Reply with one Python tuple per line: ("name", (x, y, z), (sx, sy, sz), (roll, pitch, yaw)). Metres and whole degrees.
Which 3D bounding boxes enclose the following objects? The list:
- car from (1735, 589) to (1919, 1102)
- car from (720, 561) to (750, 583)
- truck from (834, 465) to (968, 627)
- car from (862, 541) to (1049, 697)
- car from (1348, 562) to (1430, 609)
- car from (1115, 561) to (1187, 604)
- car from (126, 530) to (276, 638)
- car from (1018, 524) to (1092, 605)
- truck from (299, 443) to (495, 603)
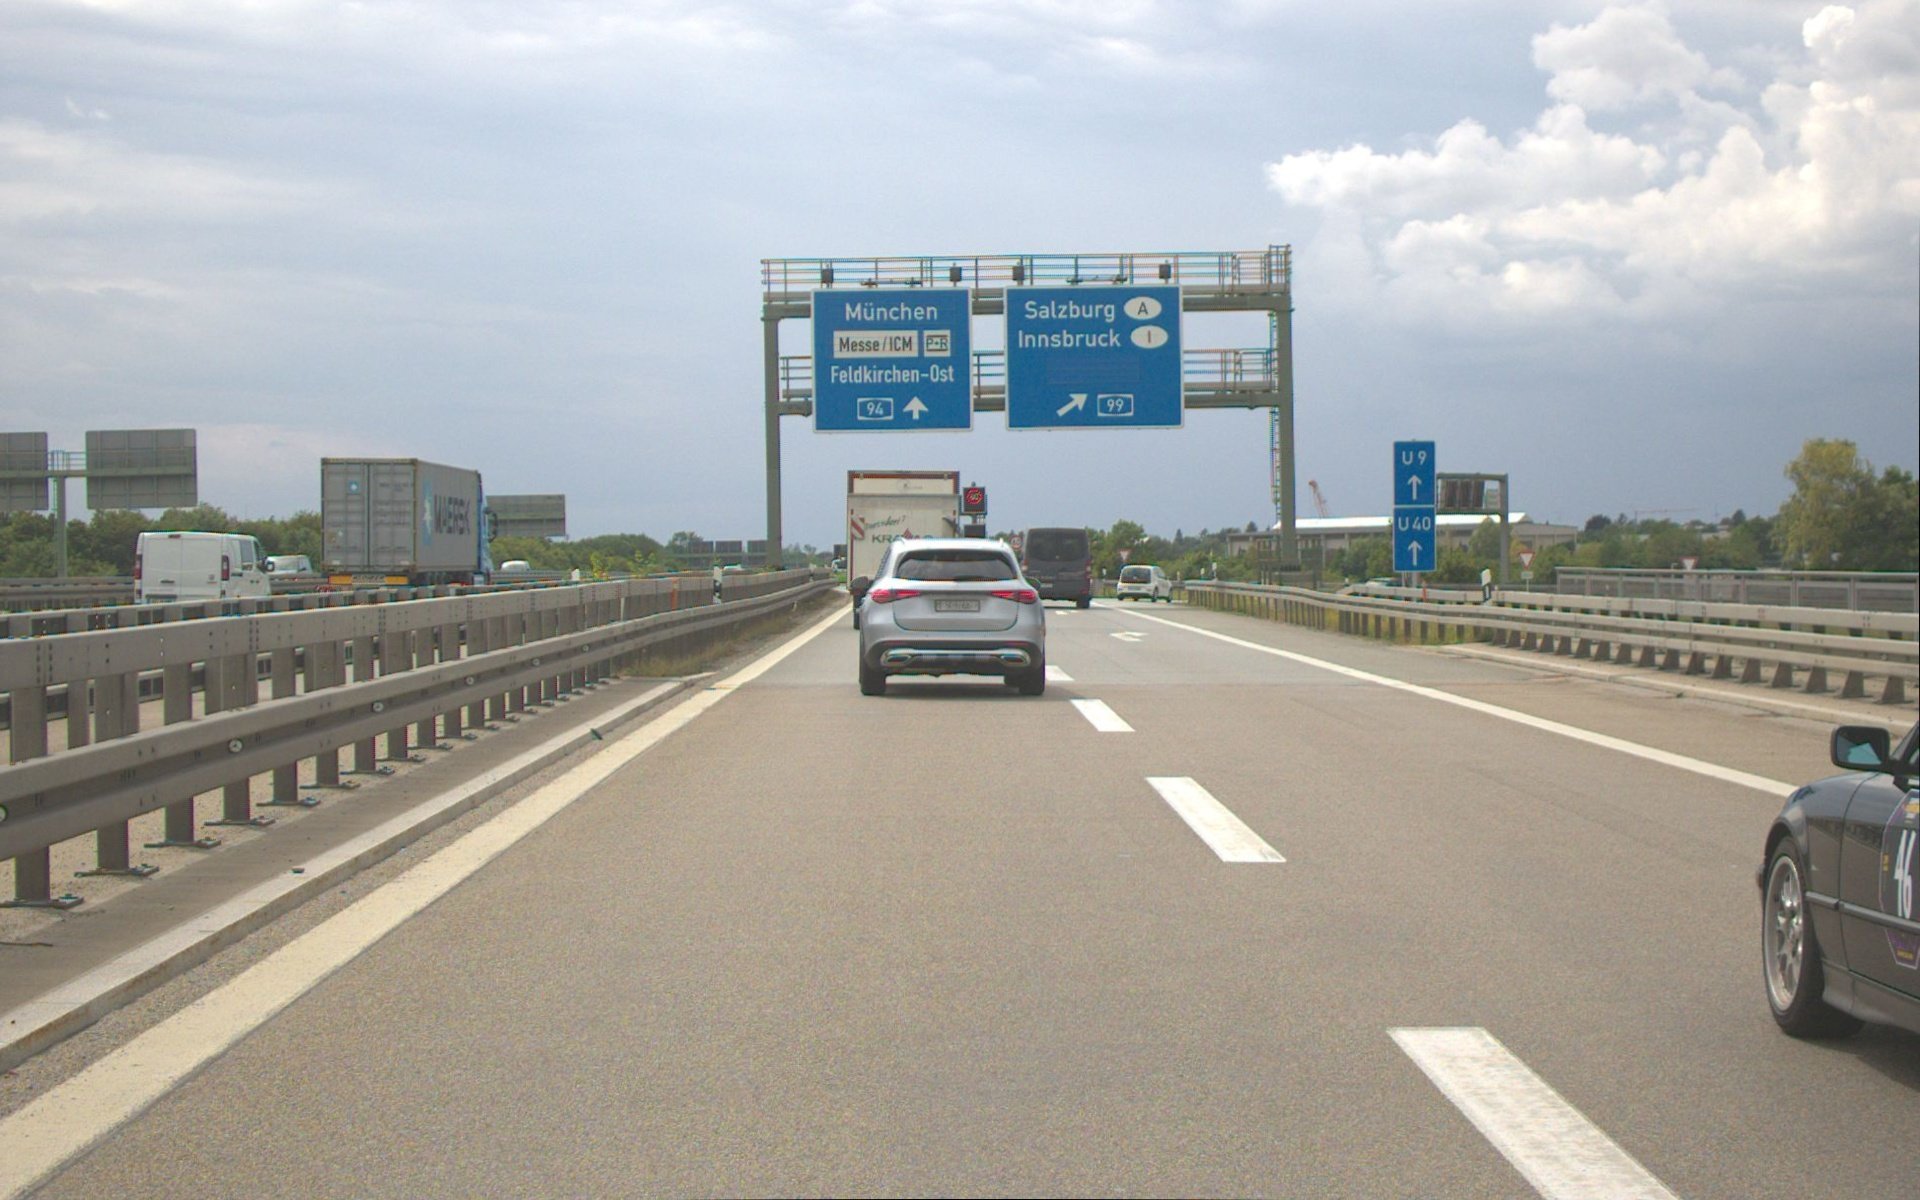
("car", (3.350, 0.670, 9.003), (1.704, 1.277, 4.366), (1, 1, 1))
("car", (-16.263, -2.028, 248.654), (1.828, 1.557, 4.000), (0, 1, 1))
("truck", (-1.199, -1.061, 71.313), (2.569, 3.115, 8.634), (1, 0, -1))
("car", (-0.098, 0.158, 36.319), (1.819, 1.509, 4.001), (1, 1, -2))
("car", (20.883, -0.696, 167.390), (3.989, 2.007, 1.782), (3, 1, -45))
("car", (8.041, -0.758, 144.225), (1.995, 1.703, 3.996), (1, 1, 19))
("car", (-14.880, -0.358, 67.580), (1.993, 2.007, 4.375), (1, 1, 0))
("car", (2.736, -1.046, 99.506), (1.906, 2.254, 4.649), (1, 1, -1))
("truck", (-15.308, -2.153, 94.868), (3.183, 4.005, 16.077), (1, 1, -2))
